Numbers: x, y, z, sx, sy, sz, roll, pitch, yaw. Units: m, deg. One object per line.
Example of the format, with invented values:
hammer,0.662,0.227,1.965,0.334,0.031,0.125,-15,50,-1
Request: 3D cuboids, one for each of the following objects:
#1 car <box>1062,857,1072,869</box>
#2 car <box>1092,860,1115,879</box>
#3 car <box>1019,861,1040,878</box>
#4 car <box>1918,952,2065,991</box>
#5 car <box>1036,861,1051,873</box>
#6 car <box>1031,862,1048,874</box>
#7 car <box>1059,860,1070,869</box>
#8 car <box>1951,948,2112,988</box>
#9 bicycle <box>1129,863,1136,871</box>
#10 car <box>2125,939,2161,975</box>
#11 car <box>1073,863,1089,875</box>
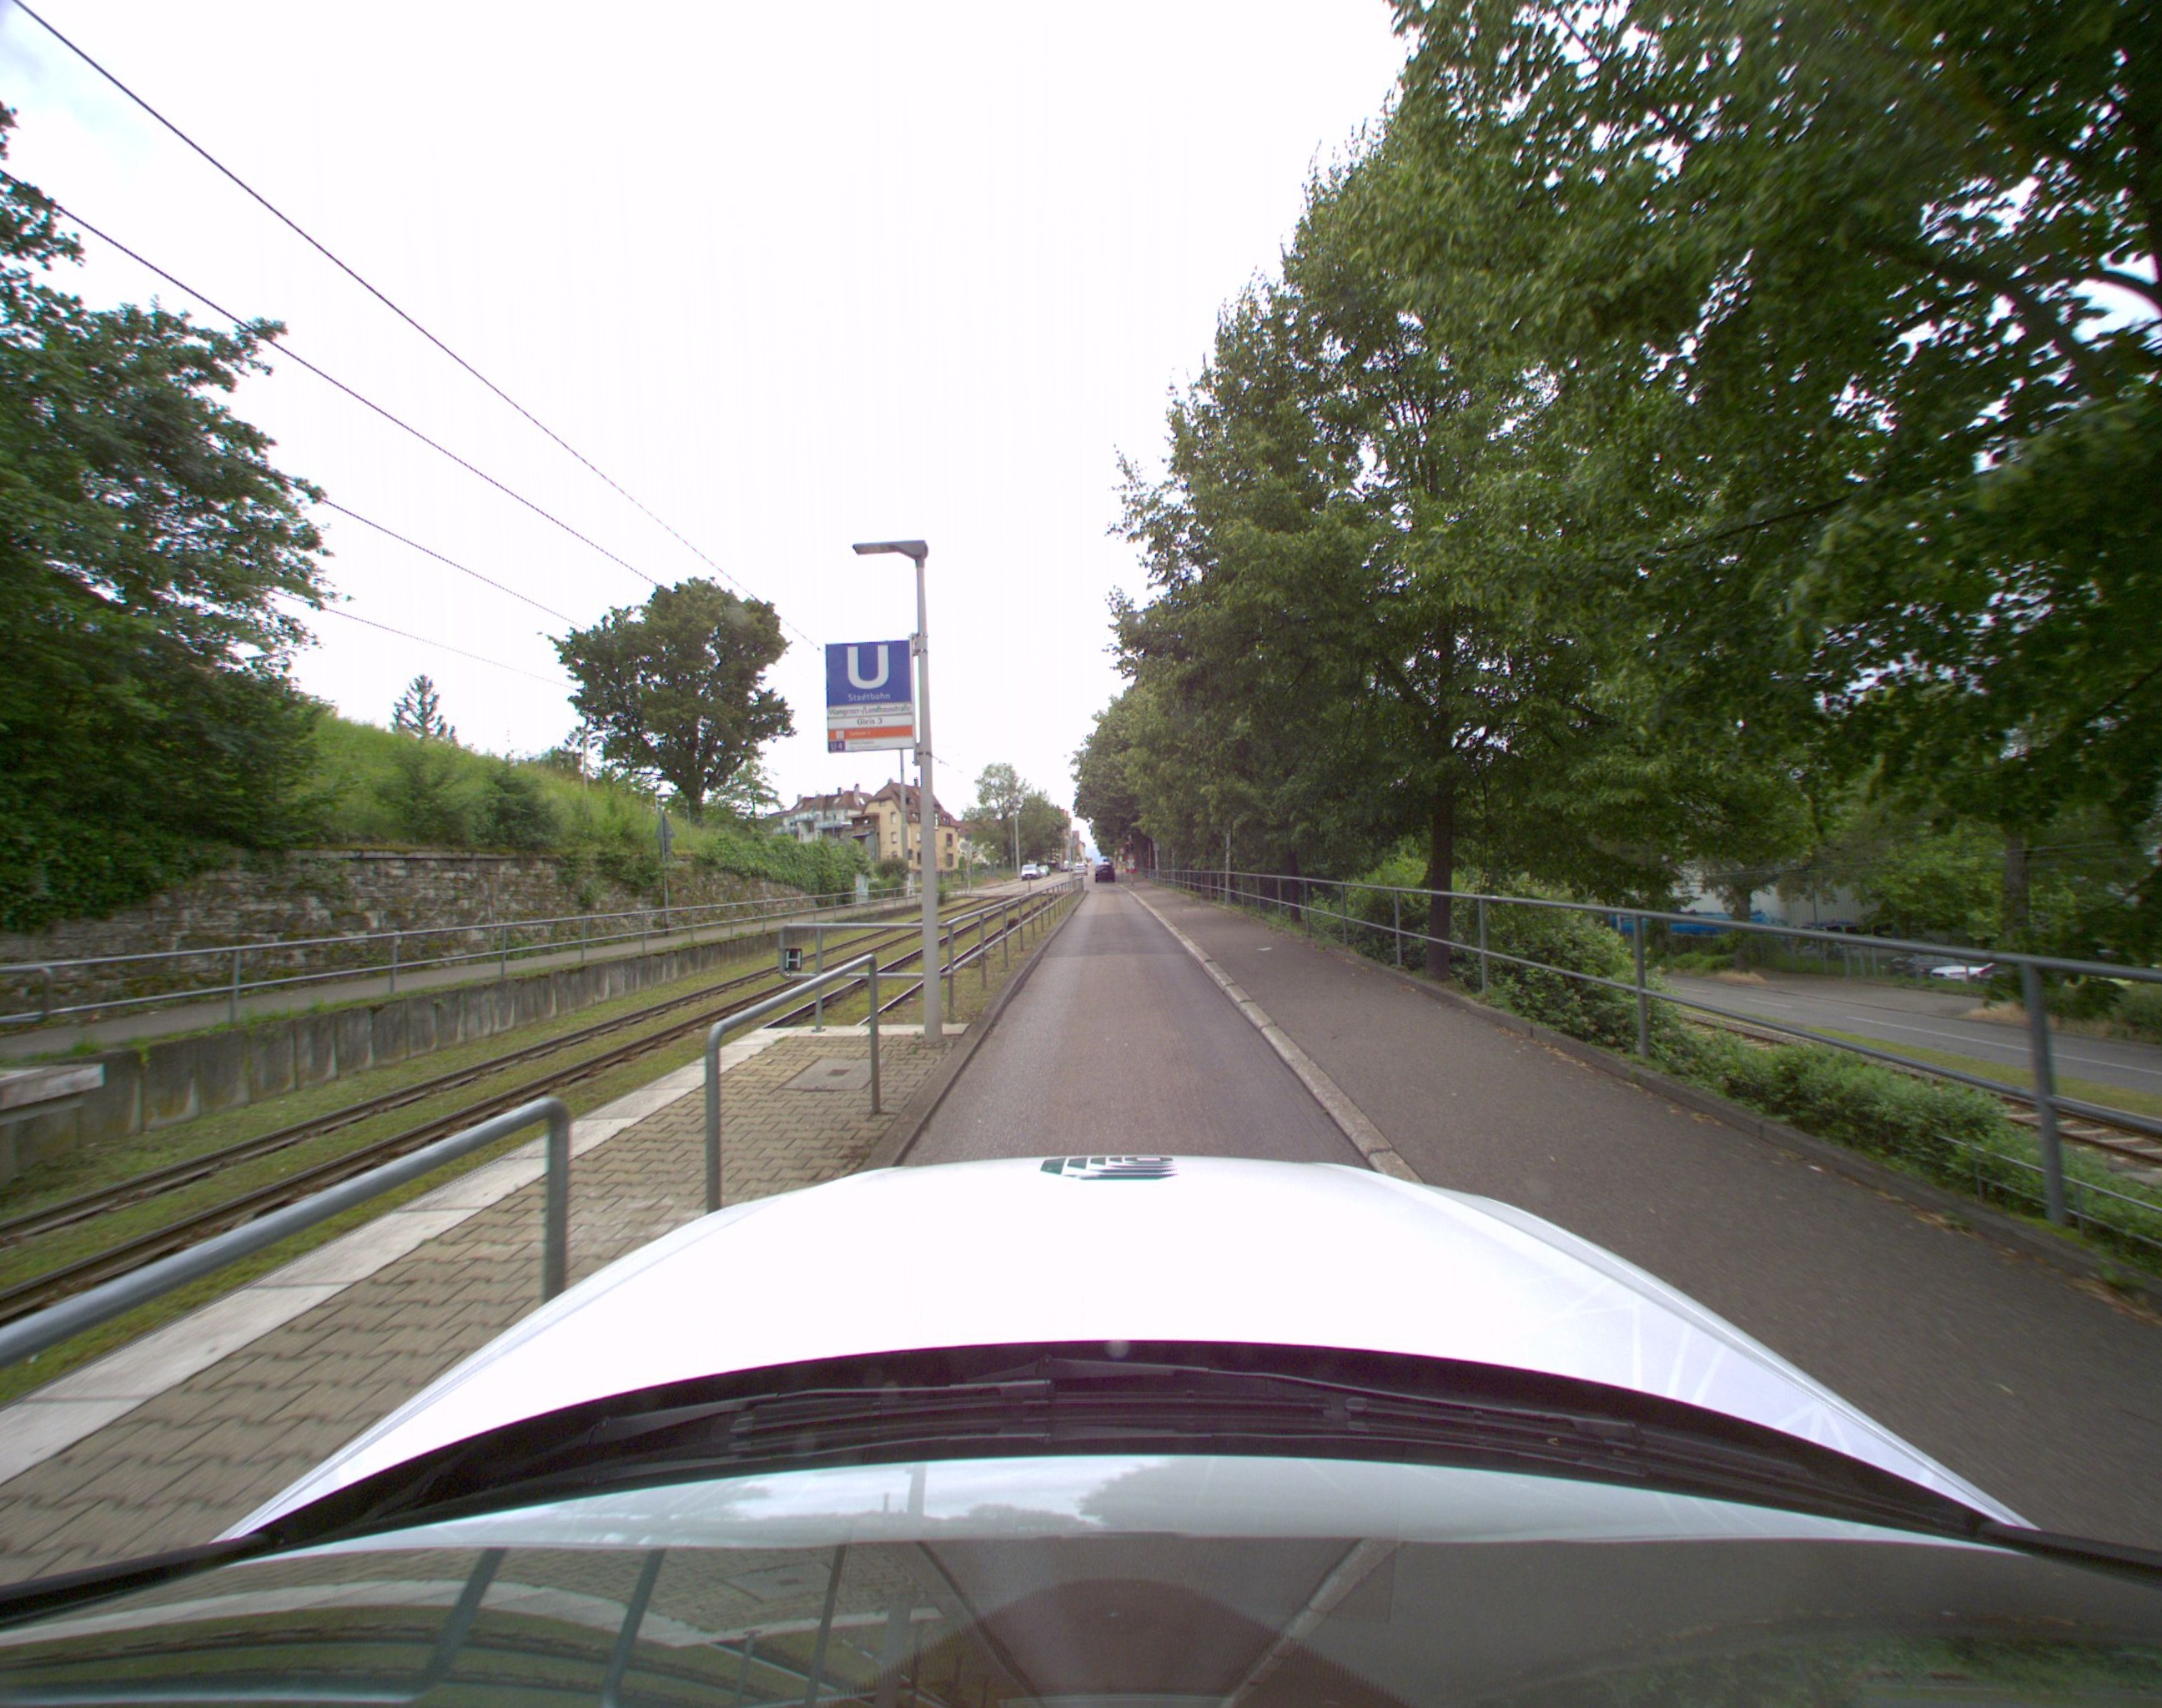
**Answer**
car,-3.252,2.128,195.088,2.223,2.764,5.797,-2,-1,0
car,2.099,1.383,74.130,1.896,1.615,4.603,-1,0,3
car,-6.327,1.878,100.023,2.029,1.881,4.885,-5,-1,0
car,42.009,5.418,37.665,4.303,1.505,1.831,-2,-1,9
car,-5.539,1.890,120.133,1.716,1.580,4.182,-3,-1,2
car,-5.803,1.931,114.339,1.878,1.526,4.665,-4,-1,2
car,-3.653,2.335,180.591,1.985,1.808,4.003,-2,-1,3
car,41.558,4.988,35.726,4.303,1.468,2.005,-2,-1,9
bicycle,5.876,1.491,93.496,0.427,0.976,1.790,-2,-1,-8
car,53.086,5.034,39.170,1.974,1.468,4.370,-2,-1,30
car,-0.018,1.961,107.330,1.986,1.499,4.313,-1,-1,1
